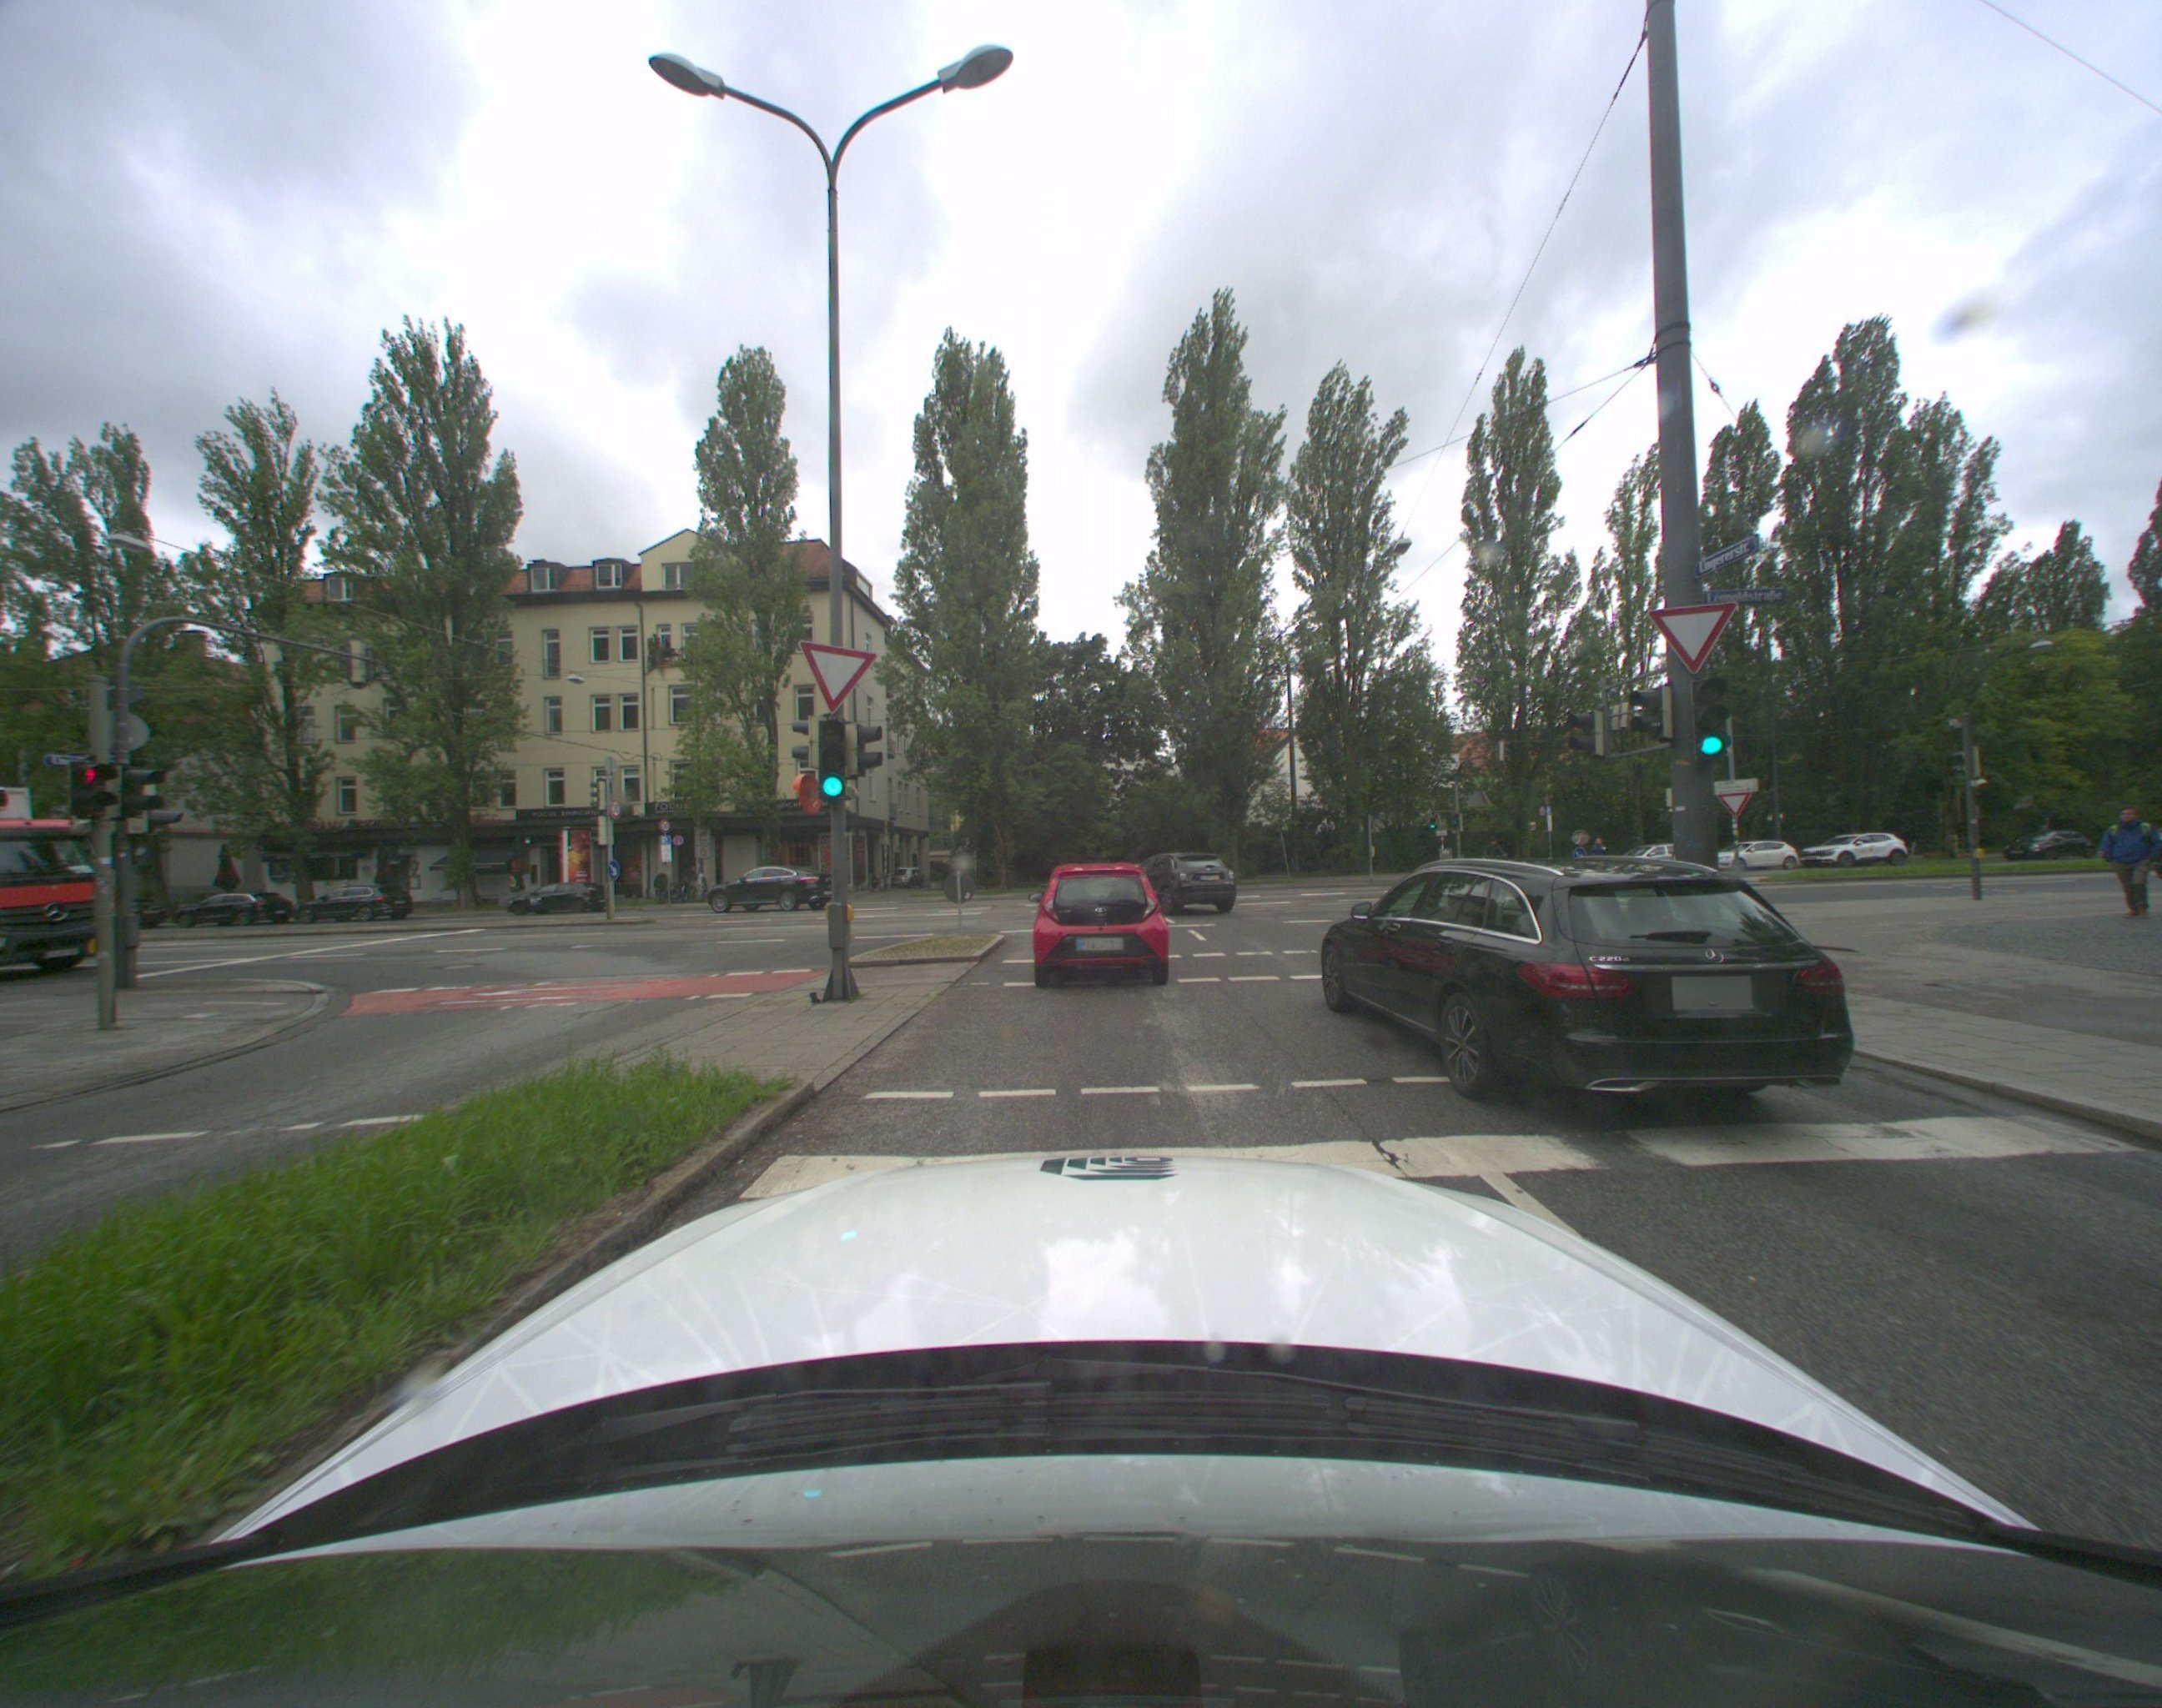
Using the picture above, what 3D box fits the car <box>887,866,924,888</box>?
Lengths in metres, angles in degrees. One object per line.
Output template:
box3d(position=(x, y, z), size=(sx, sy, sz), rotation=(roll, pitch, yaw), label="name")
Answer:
box3d(position=(-12.271, 1.589, 57.124), size=(1.720, 1.442, 3.997), rotation=(-2, 0, -1), label="car")

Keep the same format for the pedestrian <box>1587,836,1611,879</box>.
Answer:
box3d(position=(20.194, 0.146, 31.739), size=(0.693, 1.663, 0.555), rotation=(-2, -2, 42), label="pedestrian")

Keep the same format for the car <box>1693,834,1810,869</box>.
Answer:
box3d(position=(32.566, -0.113, 39.638), size=(4.231, 1.486, 1.786), rotation=(-2, -1, 0), label="car")

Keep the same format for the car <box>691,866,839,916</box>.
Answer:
box3d(position=(-11.124, 1.283, 28.824), size=(4.535, 1.549, 1.745), rotation=(-2, -1, 8), label="car")

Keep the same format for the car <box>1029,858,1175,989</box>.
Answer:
box3d(position=(0.330, 0.807, 10.998), size=(1.622, 1.440, 3.379), rotation=(-2, 0, 3), label="car")

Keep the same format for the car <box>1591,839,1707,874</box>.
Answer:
box3d(position=(27.305, 0.129, 39.260), size=(4.324, 1.486, 1.786), rotation=(-2, -1, 0), label="car")

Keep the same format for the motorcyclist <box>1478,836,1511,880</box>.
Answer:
box3d(position=(13.962, 0.147, 27.501), size=(0.617, 1.443, 0.881), rotation=(0, -1, -2), label="motorcyclist")

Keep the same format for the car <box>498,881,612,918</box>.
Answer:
box3d(position=(-23.992, 2.059, 37.235), size=(3.977, 1.466, 1.803), rotation=(-2, -1, -2), label="car")

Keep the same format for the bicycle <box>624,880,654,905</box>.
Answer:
box3d(position=(-22.581, 1.943, 41.593), size=(0.493, 1.185, 1.888), rotation=(-2, -1, -1), label="bicycle")

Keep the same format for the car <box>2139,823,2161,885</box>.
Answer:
box3d(position=(25.069, -0.082, 16.969), size=(3.978, 1.316, 1.729), rotation=(-2, -1, -3), label="car")

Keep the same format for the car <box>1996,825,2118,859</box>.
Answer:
box3d(position=(48.814, -0.569, 40.787), size=(4.116, 1.486, 1.785), rotation=(-2, -1, -3), label="car")

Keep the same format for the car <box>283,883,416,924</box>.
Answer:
box3d(position=(-33.224, 2.242, 37.067), size=(4.440, 1.612, 1.727), rotation=(-2, -1, 1), label="car")

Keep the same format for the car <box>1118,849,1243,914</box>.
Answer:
box3d(position=(2.485, 0.696, 21.309), size=(1.785, 1.486, 3.977), rotation=(-2, -1, -17), label="car")

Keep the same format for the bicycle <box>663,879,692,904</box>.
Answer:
box3d(position=(-20.535, 1.905, 41.468), size=(0.493, 1.185, 1.888), rotation=(-2, -1, -1), label="bicycle")

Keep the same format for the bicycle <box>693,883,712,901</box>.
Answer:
box3d(position=(-20.085, 2.029, 43.240), size=(0.386, 0.883, 1.371), rotation=(-2, -1, -1), label="bicycle")

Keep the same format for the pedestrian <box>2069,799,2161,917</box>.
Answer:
box3d(position=(15.628, 0.062, 12.234), size=(0.716, 1.661, 0.545), rotation=(-6, -1, 0), label="pedestrian")

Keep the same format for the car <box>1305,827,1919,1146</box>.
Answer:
box3d(position=(3.237, 0.663, 6.340), size=(1.856, 1.549, 4.706), rotation=(0, 0, 2), label="car")

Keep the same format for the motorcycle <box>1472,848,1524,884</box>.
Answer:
box3d(position=(13.951, 0.411, 27.315), size=(0.627, 1.170, 2.027), rotation=(0, -1, -3), label="motorcycle")

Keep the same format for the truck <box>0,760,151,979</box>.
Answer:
box3d(position=(-25.428, 0.496, 15.760), size=(11.635, 3.980, 2.749), rotation=(-2, 0, 1), label="truck")

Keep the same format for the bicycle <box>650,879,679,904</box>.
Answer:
box3d(position=(-21.231, 1.910, 41.558), size=(0.493, 1.185, 1.888), rotation=(-2, -1, -1), label="bicycle")

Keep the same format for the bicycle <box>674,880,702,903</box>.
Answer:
box3d(position=(-20.010, 1.911, 41.509), size=(0.493, 1.082, 1.888), rotation=(-2, -1, -1), label="bicycle")

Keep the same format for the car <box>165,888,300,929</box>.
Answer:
box3d(position=(-38.677, 2.455, 37.195), size=(4.276, 1.612, 1.805), rotation=(-2, -1, 1), label="car")

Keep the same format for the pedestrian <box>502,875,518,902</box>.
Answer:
box3d(position=(-32.342, 1.949, 46.117), size=(0.492, 1.562, 0.575), rotation=(0, -1, 2), label="pedestrian")

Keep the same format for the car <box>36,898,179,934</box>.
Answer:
box3d(position=(-44.531, 2.817, 37.308), size=(4.352, 1.398, 1.805), rotation=(-2, -1, 1), label="car")

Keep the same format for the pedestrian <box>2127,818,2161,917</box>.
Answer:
box3d(position=(15.718, 0.175, 11.636), size=(0.716, 1.404, 0.545), rotation=(-4, -1, 0), label="pedestrian")

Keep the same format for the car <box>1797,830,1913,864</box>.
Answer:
box3d(position=(37.879, -0.329, 39.908), size=(4.116, 1.486, 1.785), rotation=(-2, -1, -3), label="car")
